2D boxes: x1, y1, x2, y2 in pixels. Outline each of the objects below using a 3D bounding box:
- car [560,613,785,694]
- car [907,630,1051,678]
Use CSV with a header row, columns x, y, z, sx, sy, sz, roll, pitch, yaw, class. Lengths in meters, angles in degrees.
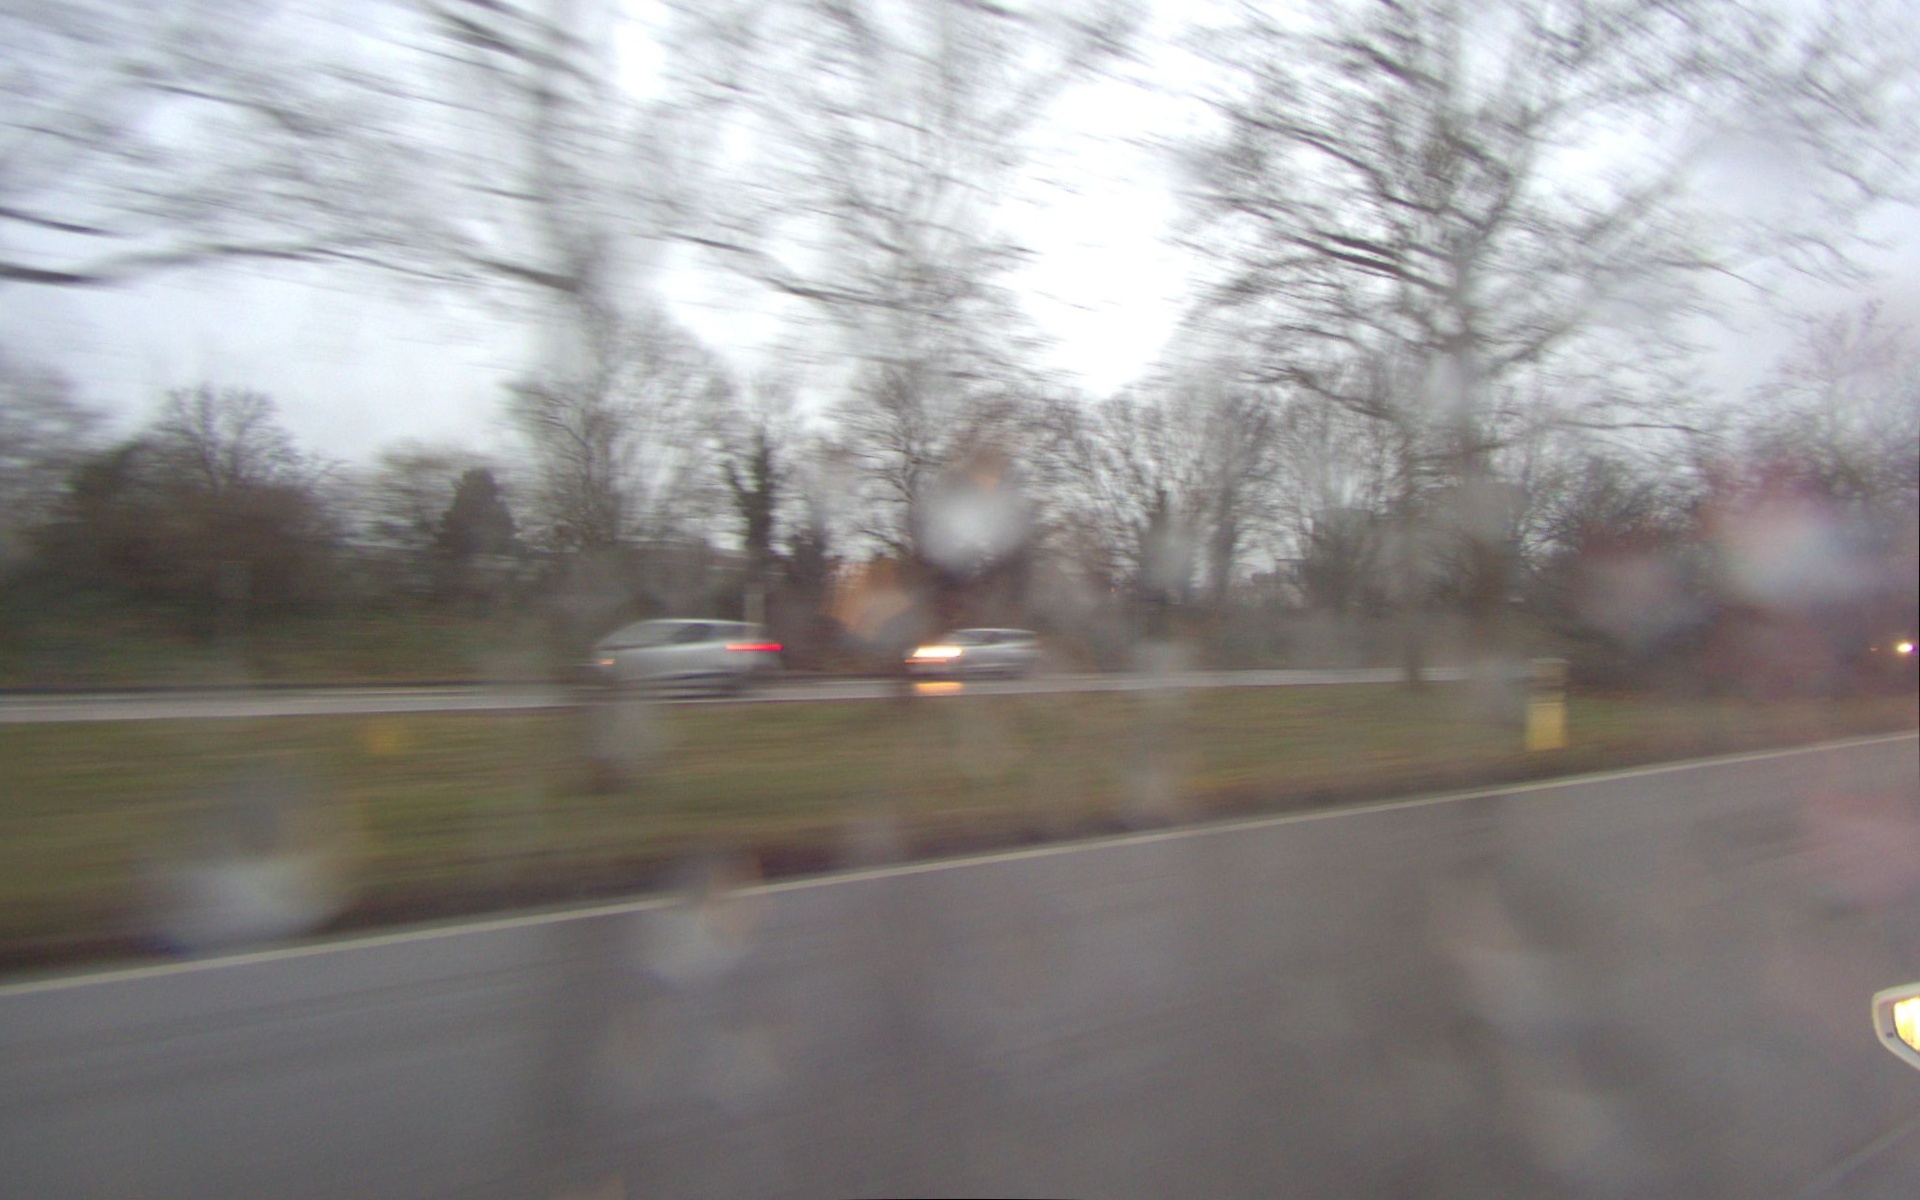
x,y,z,sx,sy,sz,roll,pitch,yaw,class
-5.592,1.027,19.614,3.931,1.444,1.741,2,-2,-30,car
0.587,1.603,29.828,4.053,1.319,1.572,2,-2,-28,car
